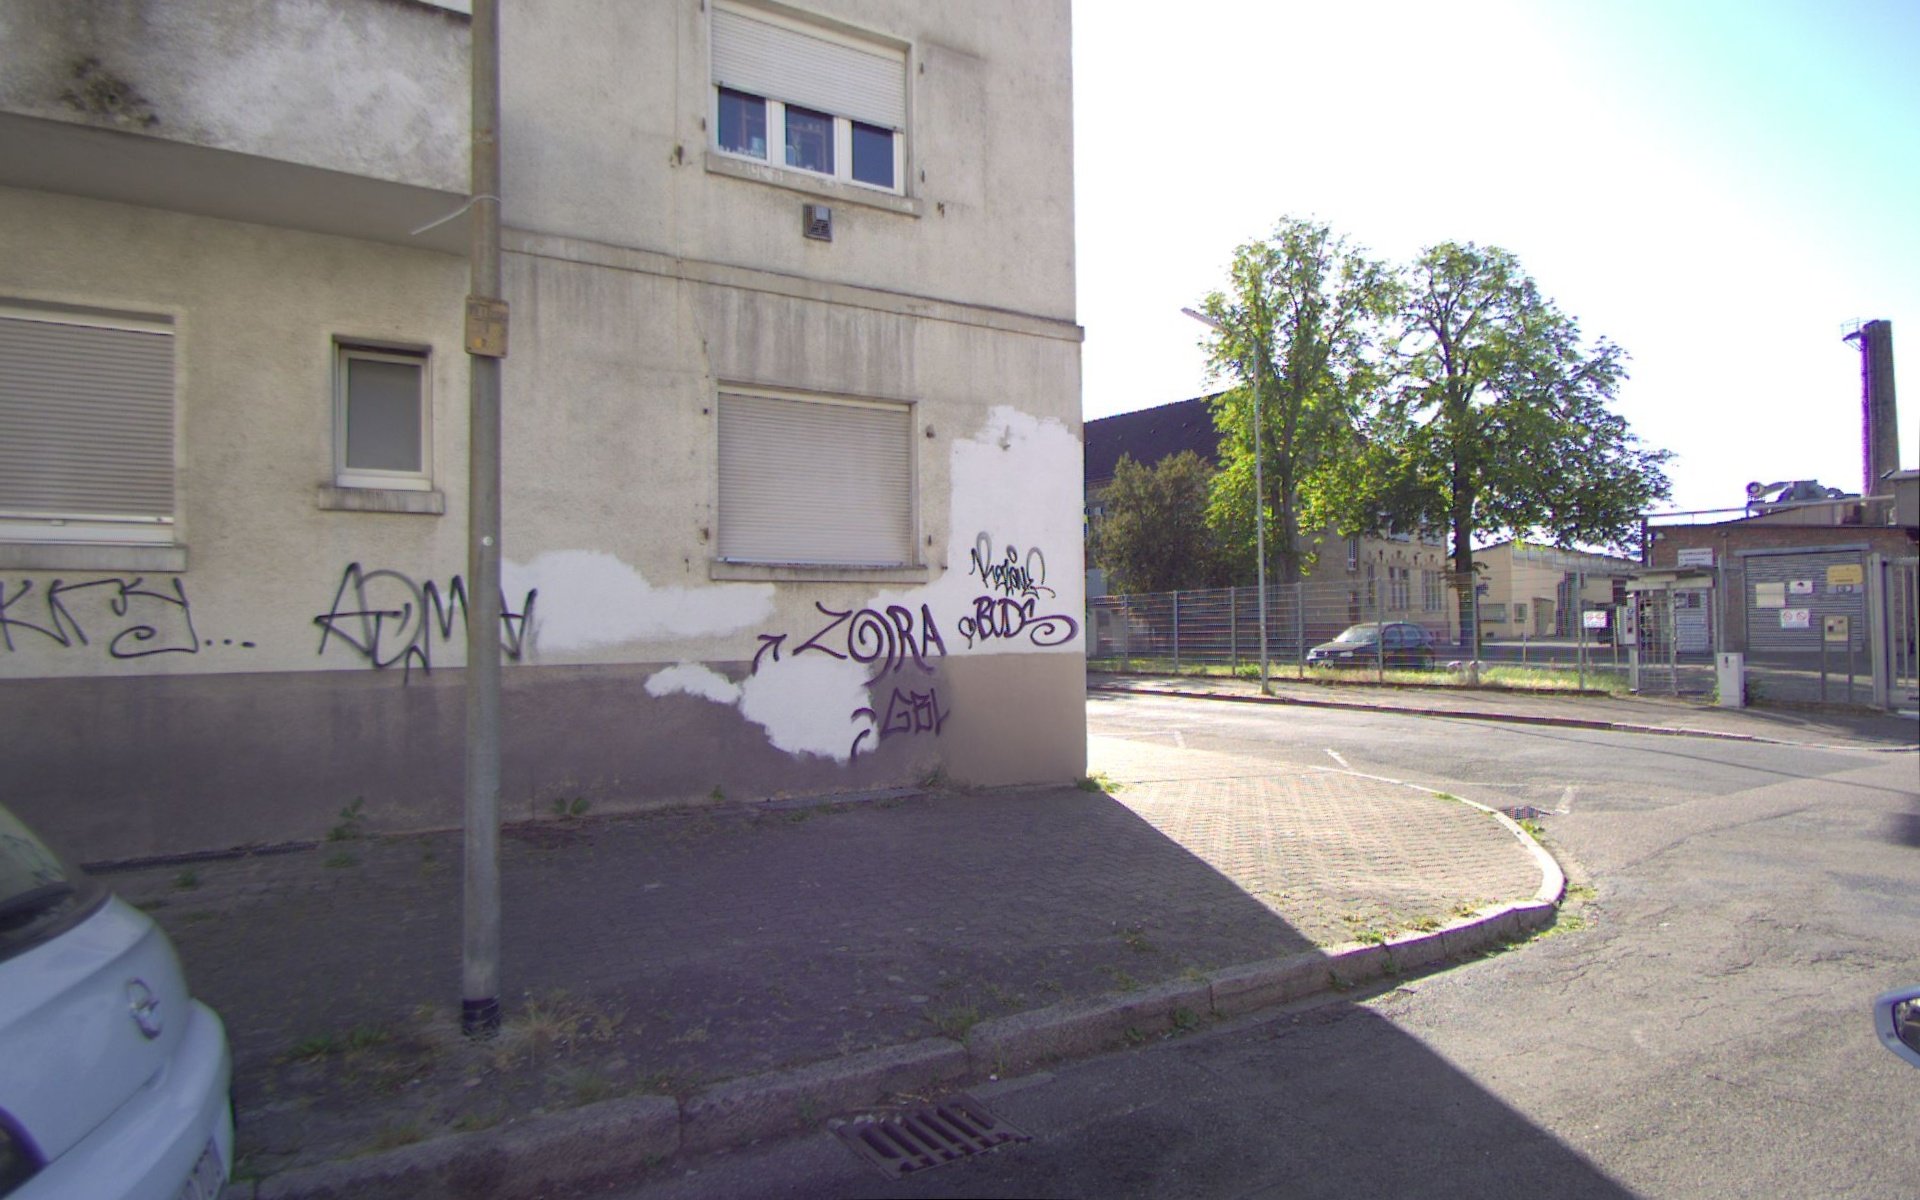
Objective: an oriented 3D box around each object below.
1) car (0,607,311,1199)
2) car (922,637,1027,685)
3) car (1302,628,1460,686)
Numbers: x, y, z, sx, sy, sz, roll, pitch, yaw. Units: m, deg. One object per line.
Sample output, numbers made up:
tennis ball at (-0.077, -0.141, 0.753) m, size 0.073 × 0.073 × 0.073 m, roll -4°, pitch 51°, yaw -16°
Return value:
car at (-2.874, 0.782, 0.906) m, size 3.674 × 1.478 × 1.681 m, roll 1°, pitch -4°, yaw -28°
car at (0.399, 1.947, 32.883) m, size 1.633 × 1.435 × 3.969 m, roll -1°, pitch -1°, yaw -30°
car at (11.448, 1.498, 27.270) m, size 3.953 × 1.439 × 1.984 m, roll 0°, pitch -2°, yaw -30°
